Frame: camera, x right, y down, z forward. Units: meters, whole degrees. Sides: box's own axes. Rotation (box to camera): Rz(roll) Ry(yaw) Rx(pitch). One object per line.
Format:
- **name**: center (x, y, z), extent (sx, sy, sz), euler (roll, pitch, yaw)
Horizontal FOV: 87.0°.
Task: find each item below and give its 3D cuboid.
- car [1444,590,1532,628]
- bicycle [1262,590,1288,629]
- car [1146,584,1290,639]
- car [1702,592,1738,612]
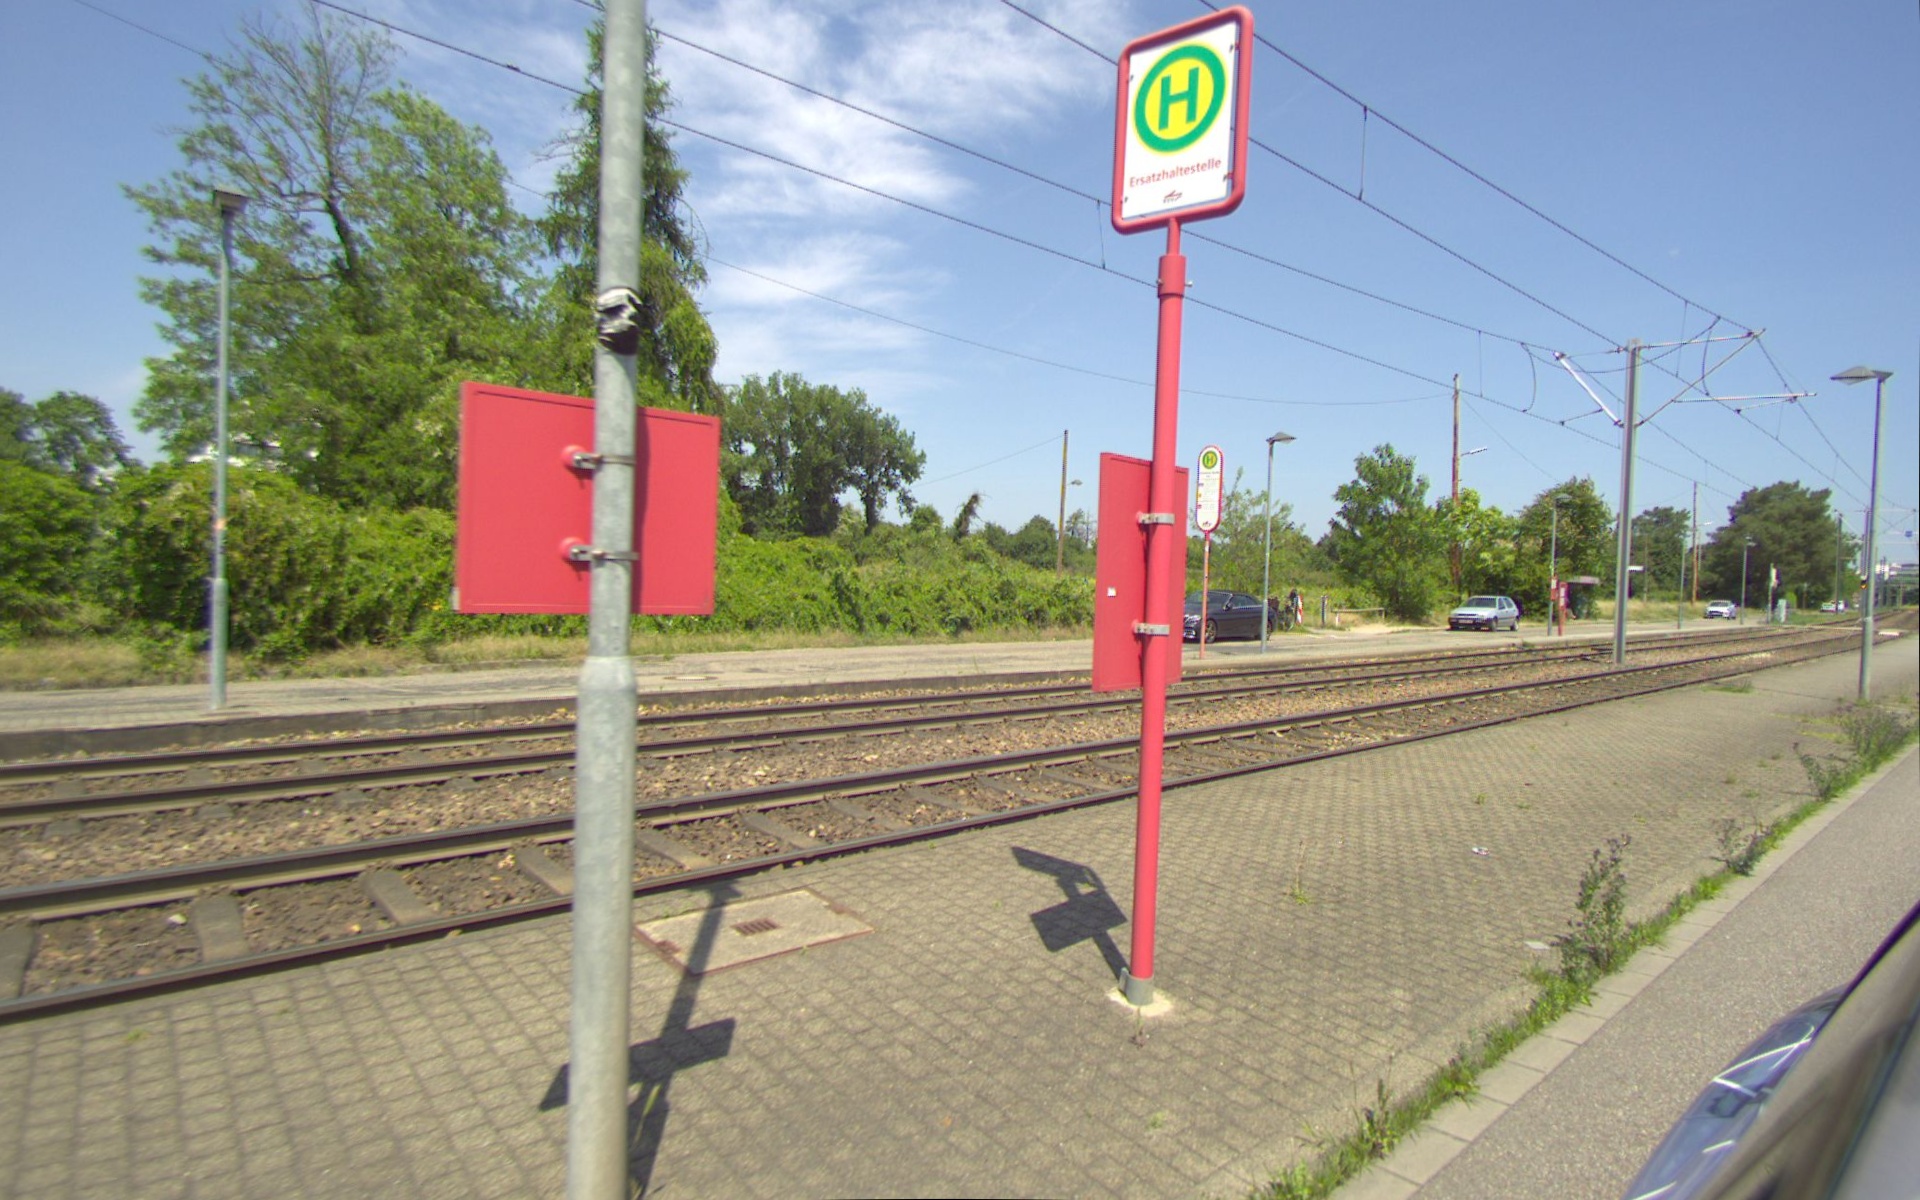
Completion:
- **car**: center (21.349, 0.322, 40.871), extent (3.933, 1.440, 1.941), euler (0, 1, -43)
- **bicycle**: center (10.901, 0.314, 35.068), extent (0.693, 1.284, 1.674), euler (2, 2, 13)
- **car**: center (7.446, 0.292, 28.904), extent (4.789, 1.440, 1.622), euler (0, 1, -42)
- **car**: center (59.973, 0.142, 79.818), extent (3.935, 1.507, 1.714), euler (0, 1, -44)
